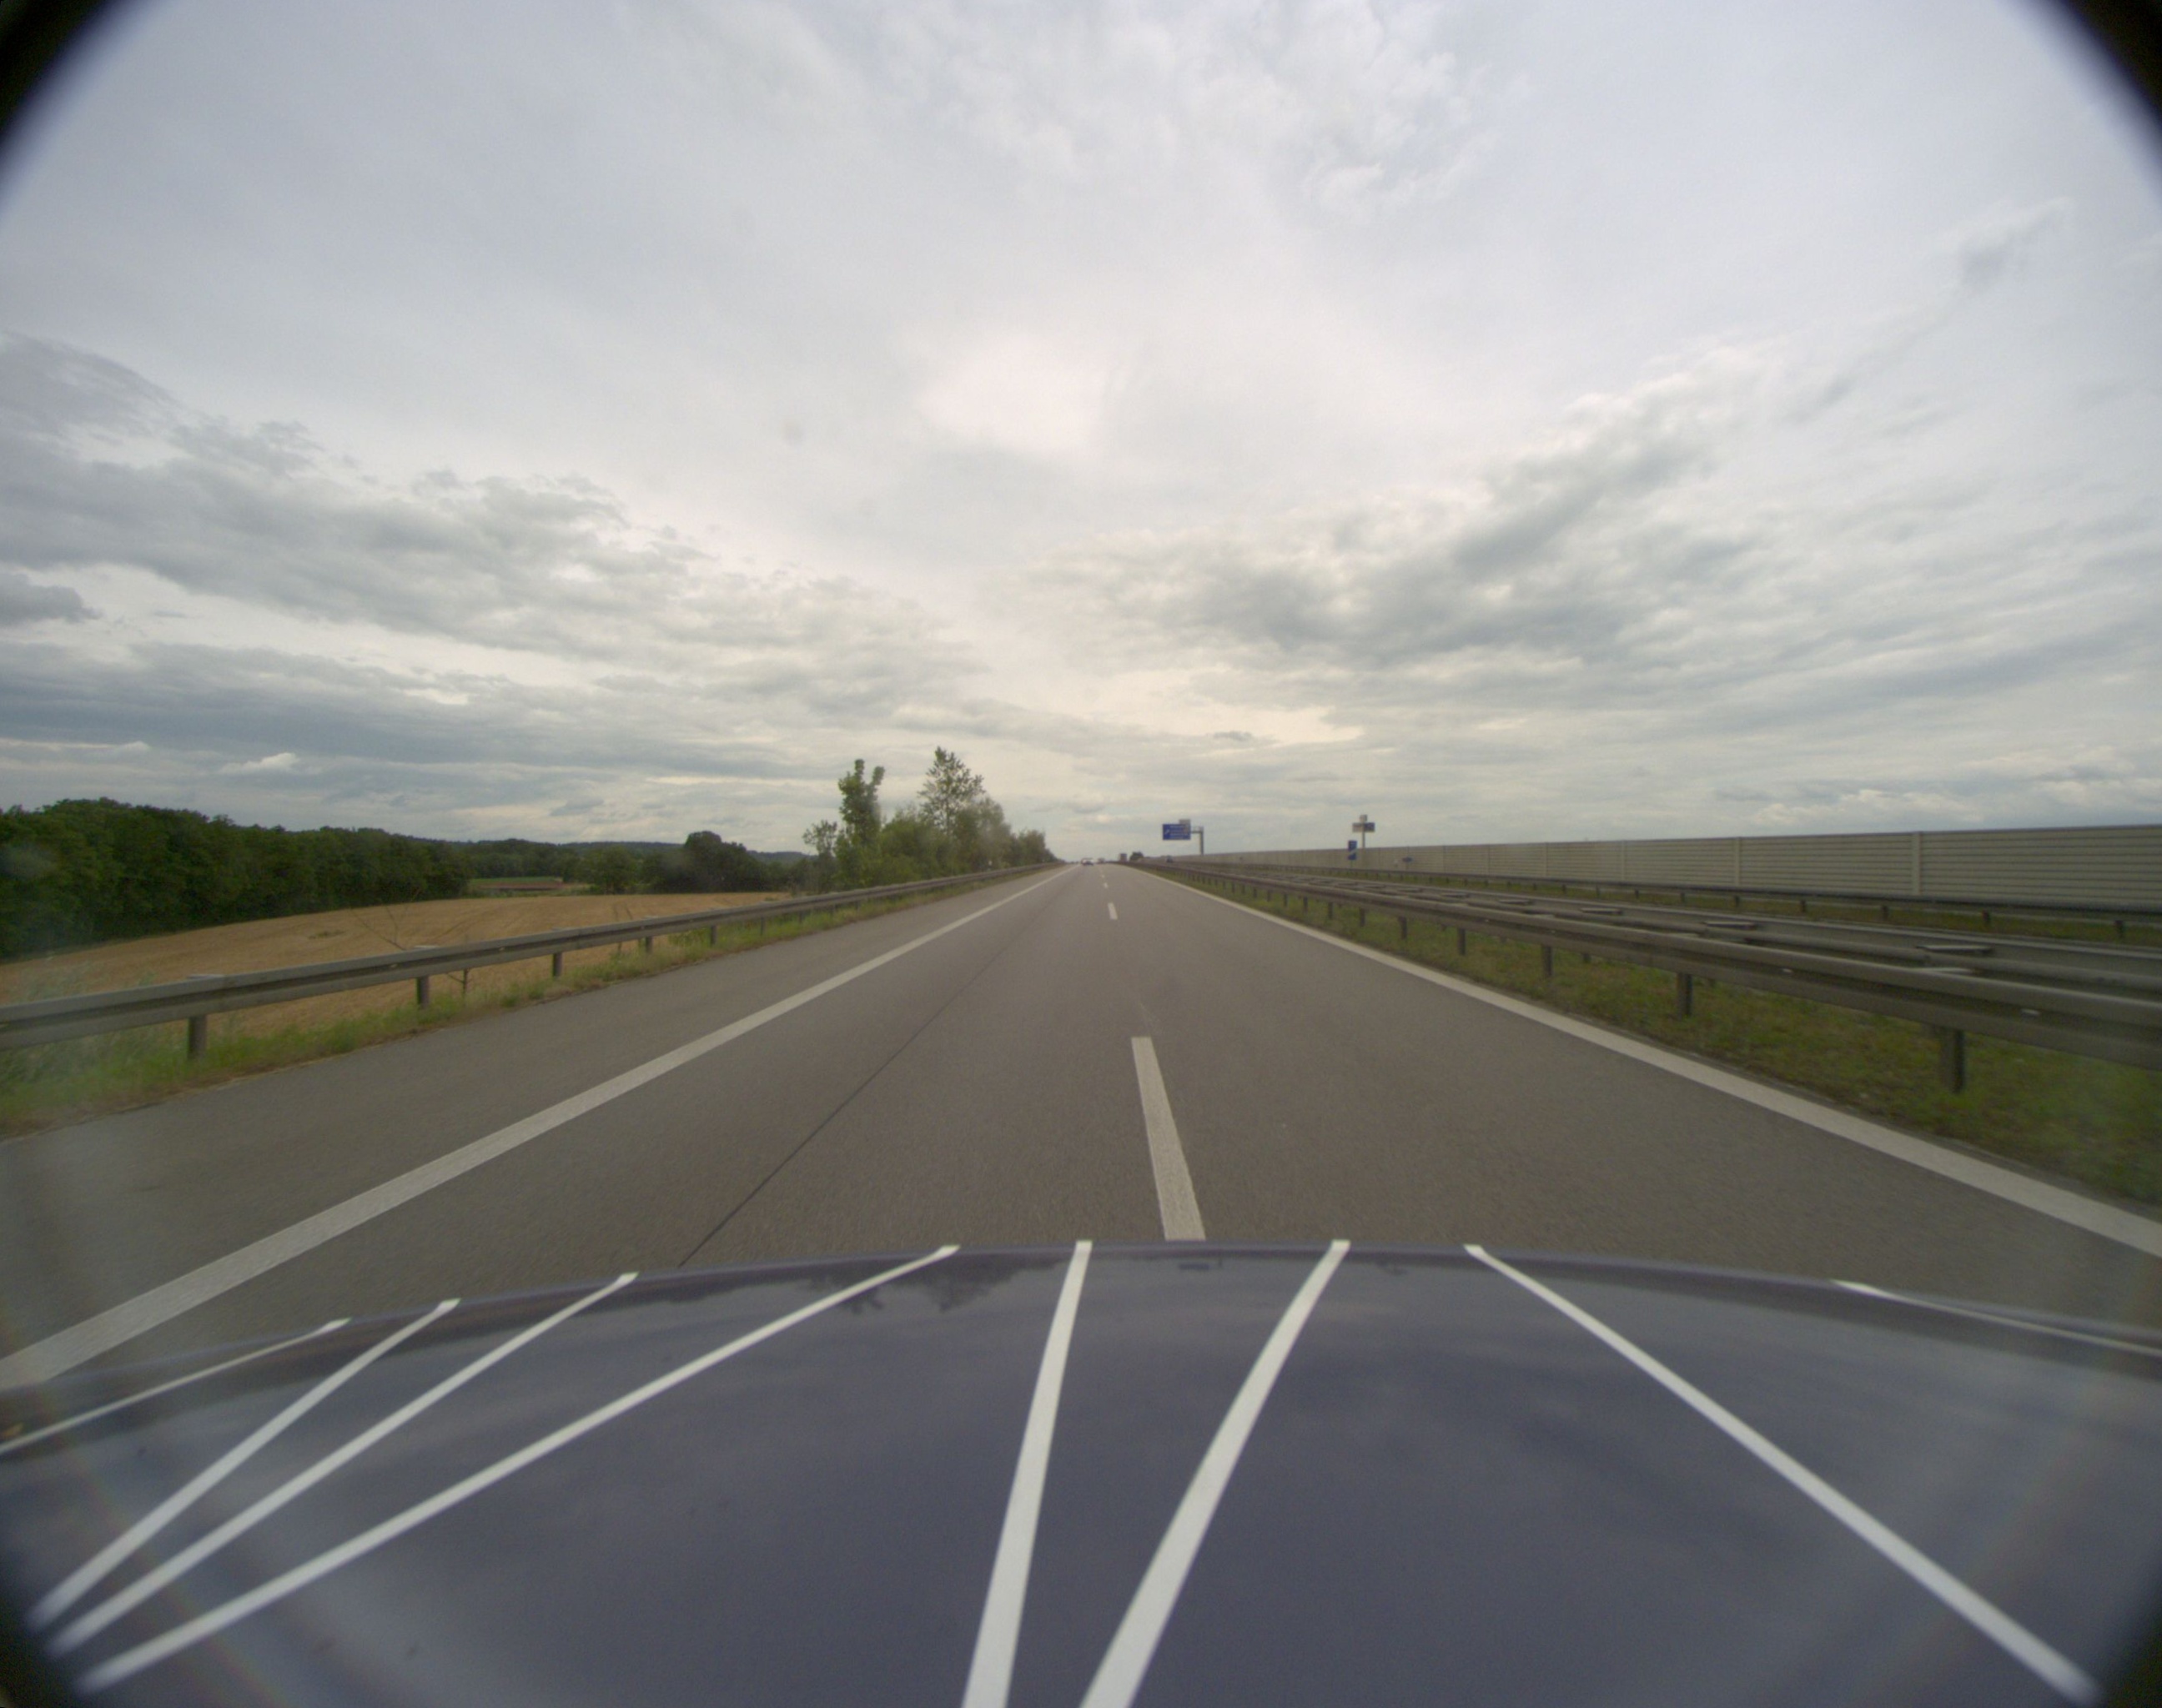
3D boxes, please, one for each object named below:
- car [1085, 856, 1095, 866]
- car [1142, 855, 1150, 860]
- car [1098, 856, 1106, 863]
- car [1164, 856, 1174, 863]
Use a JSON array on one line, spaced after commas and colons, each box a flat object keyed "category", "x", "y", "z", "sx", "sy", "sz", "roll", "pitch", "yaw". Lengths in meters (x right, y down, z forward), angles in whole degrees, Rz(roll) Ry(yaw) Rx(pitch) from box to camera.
[{"category": "car", "x": 1.695, "y": 1.323, "z": 139.949, "sx": 1.850, "sy": 1.664, "sz": 4.200, "roll": 0, "pitch": -2, "yaw": 0}, {"category": "car", "x": 17.680, "y": 1.009, "z": 205.726, "sx": 1.822, "sy": 1.395, "sz": 4.877, "roll": 0, "pitch": 0, "yaw": 1}, {"category": "car", "x": 4.927, "y": 1.315, "z": 177.818, "sx": 1.850, "sy": 1.664, "sz": 4.200, "roll": 0, "pitch": -2, "yaw": 0}, {"category": "car", "x": 18.085, "y": 1.082, "z": 155.902, "sx": 1.662, "sy": 1.321, "sz": 4.609, "roll": 3, "pitch": 0, "yaw": 1}]
